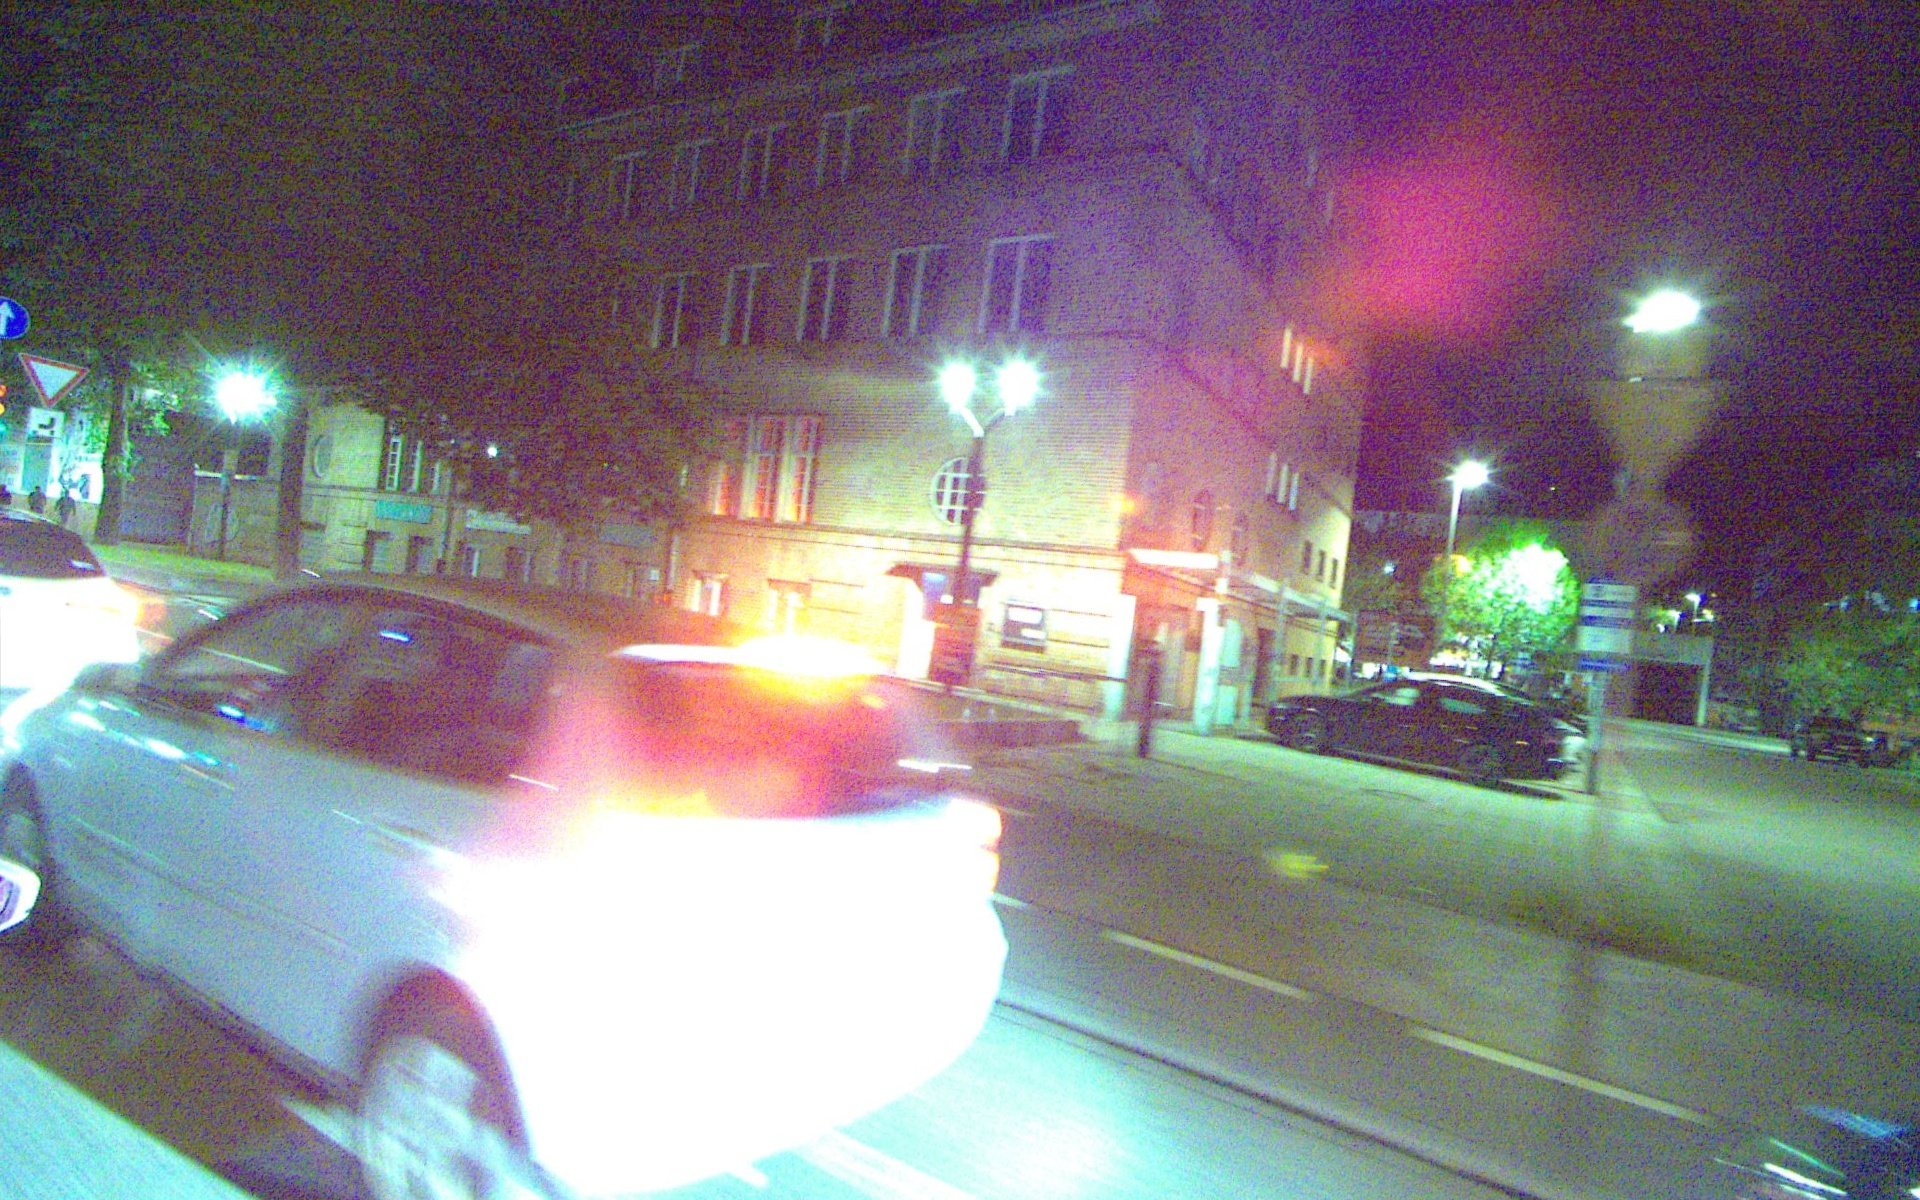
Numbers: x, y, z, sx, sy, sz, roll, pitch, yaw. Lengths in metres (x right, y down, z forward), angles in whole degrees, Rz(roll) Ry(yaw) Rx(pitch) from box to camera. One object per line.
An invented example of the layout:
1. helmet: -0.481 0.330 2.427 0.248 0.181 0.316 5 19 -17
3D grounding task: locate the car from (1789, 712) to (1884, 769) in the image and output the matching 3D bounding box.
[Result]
1. car: 34.836 5.532 40.105 2.046 1.787 4.542 7 -1 33

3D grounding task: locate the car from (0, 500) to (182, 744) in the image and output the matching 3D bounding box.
1. car: -7.483 -0.082 7.007 4.140 1.451 1.734 7 -2 31

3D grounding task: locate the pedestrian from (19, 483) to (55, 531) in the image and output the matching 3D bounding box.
1. pedestrian: -37.121 -3.747 40.443 0.892 1.791 0.739 7 1 32

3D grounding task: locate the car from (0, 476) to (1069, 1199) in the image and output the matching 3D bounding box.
1. car: -1.836 0.553 3.471 3.934 1.511 1.641 7 -2 32

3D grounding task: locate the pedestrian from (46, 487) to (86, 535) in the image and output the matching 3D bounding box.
1. pedestrian: -36.956 -3.672 41.585 0.892 1.791 0.902 7 1 32

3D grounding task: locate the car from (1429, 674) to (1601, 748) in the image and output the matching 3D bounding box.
1. car: 16.225 3.209 29.531 4.170 1.446 1.997 7 -1 31

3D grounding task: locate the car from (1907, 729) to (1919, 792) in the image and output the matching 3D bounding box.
1. car: 25.724 4.209 23.496 4.810 1.531 1.892 7 0 31

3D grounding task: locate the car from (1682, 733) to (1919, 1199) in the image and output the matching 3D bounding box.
1. car: 3.321 1.211 0.481 4.652 1.510 1.809 7 -3 33

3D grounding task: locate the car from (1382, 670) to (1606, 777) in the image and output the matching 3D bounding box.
1. car: 11.304 2.547 21.394 3.935 1.552 1.784 7 0 33

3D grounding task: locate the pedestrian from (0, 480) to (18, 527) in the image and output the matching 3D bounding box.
1. pedestrian: -37.882 -3.843 39.691 0.892 1.791 0.715 7 1 32

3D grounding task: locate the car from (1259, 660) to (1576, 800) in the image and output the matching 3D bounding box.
1. car: 7.366 2.010 16.411 4.409 1.412 1.514 7 0 34
